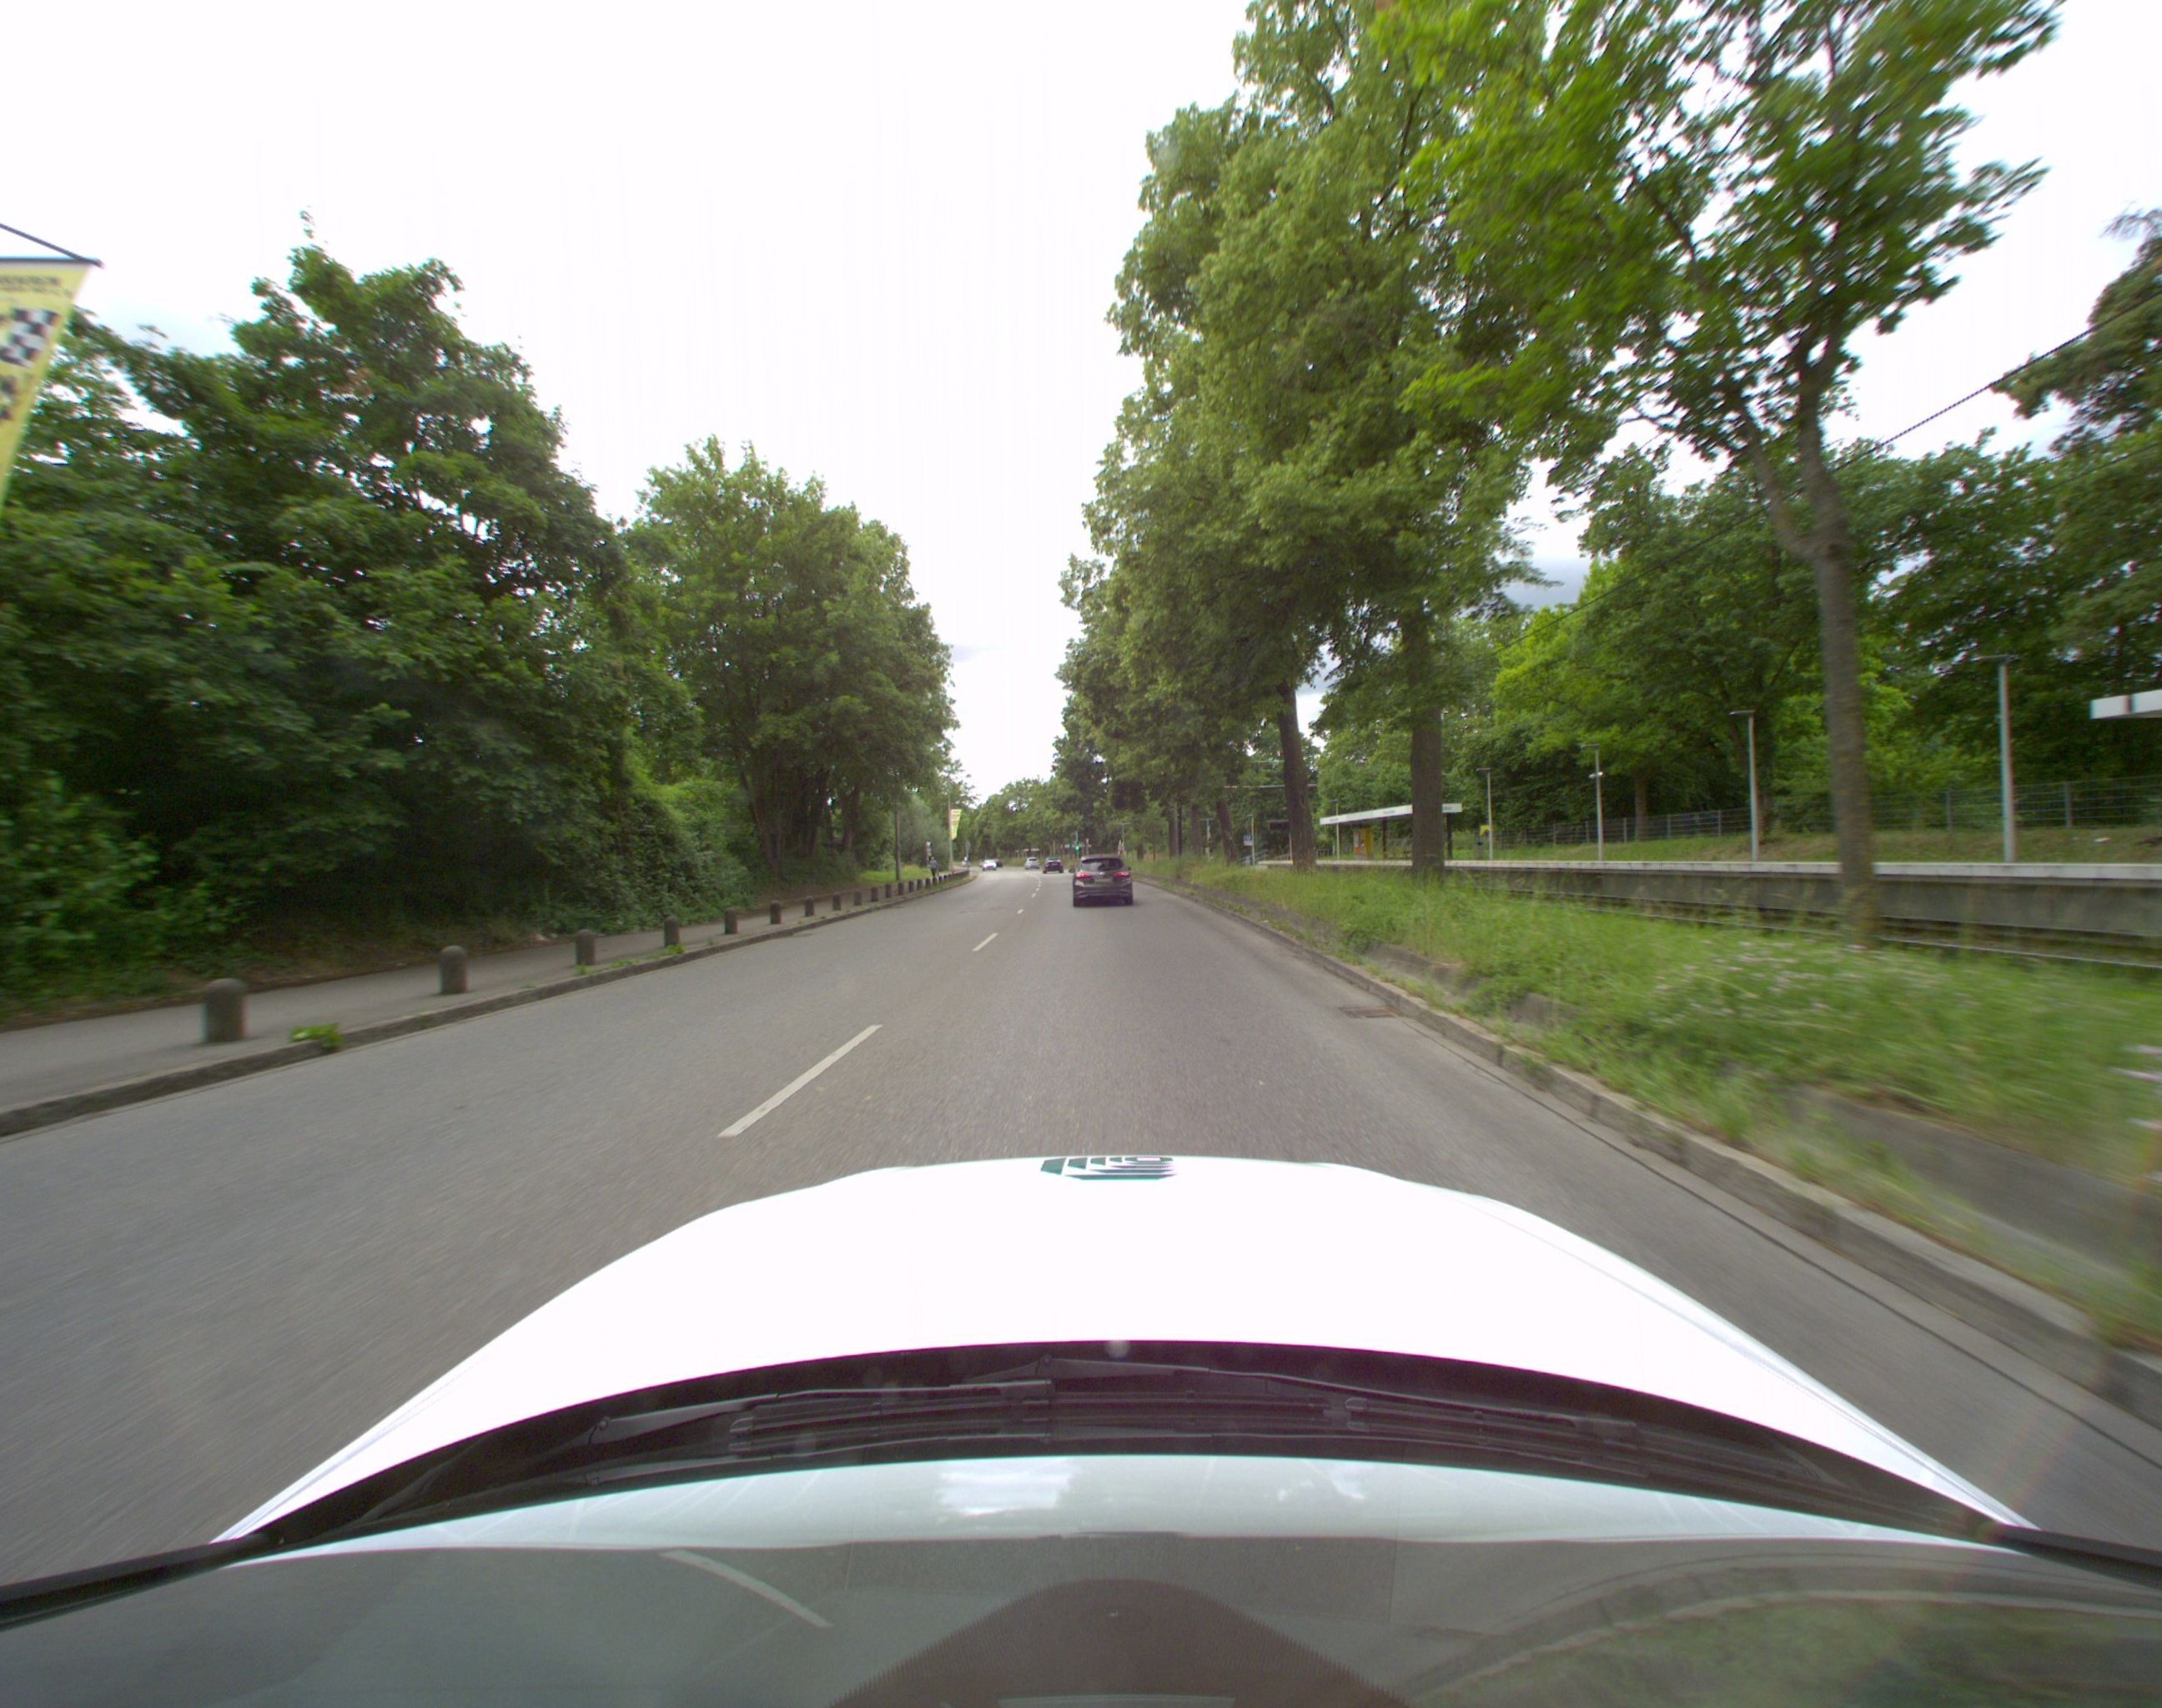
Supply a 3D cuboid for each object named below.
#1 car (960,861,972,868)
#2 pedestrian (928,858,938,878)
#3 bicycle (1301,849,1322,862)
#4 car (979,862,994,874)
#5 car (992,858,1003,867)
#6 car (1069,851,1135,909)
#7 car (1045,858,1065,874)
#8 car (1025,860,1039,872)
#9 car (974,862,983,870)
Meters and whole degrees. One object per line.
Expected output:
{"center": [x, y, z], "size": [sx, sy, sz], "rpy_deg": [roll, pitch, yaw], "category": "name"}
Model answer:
{"center": [-25.360, 2.240, 179.511], "size": [1.782, 1.472, 3.972], "rpy_deg": [0, 0, -21], "category": "car"}
{"center": [-11.987, 1.121, 65.875], "size": [0.688, 1.634, 0.837], "rpy_deg": [0, -1, -3], "category": "pedestrian"}
{"center": [18.369, 0.125, 64.898], "size": [1.507, 0.973, 0.449], "rpy_deg": [0, -1, -7], "category": "bicycle"}
{"center": [-13.149, 1.946, 113.400], "size": [1.770, 1.439, 4.353], "rpy_deg": [-3, 0, -5], "category": "car"}
{"center": [-14.358, 1.502, 140.328], "size": [1.774, 1.472, 3.991], "rpy_deg": [0, 0, -6], "category": "car"}
{"center": [0.630, 0.732, 25.170], "size": [1.810, 1.508, 4.001], "rpy_deg": [-3, 1, 1], "category": "car"}
{"center": [-2.386, 1.083, 74.996], "size": [1.772, 1.472, 3.995], "rpy_deg": [0, 0, -3], "category": "car"}
{"center": [-6.322, 1.539, 104.359], "size": [1.772, 1.472, 3.994], "rpy_deg": [0, 0, -4], "category": "car"}
{"center": [-19.782, 2.283, 157.405], "size": [1.774, 1.472, 3.990], "rpy_deg": [-1, 0, -7], "category": "car"}
